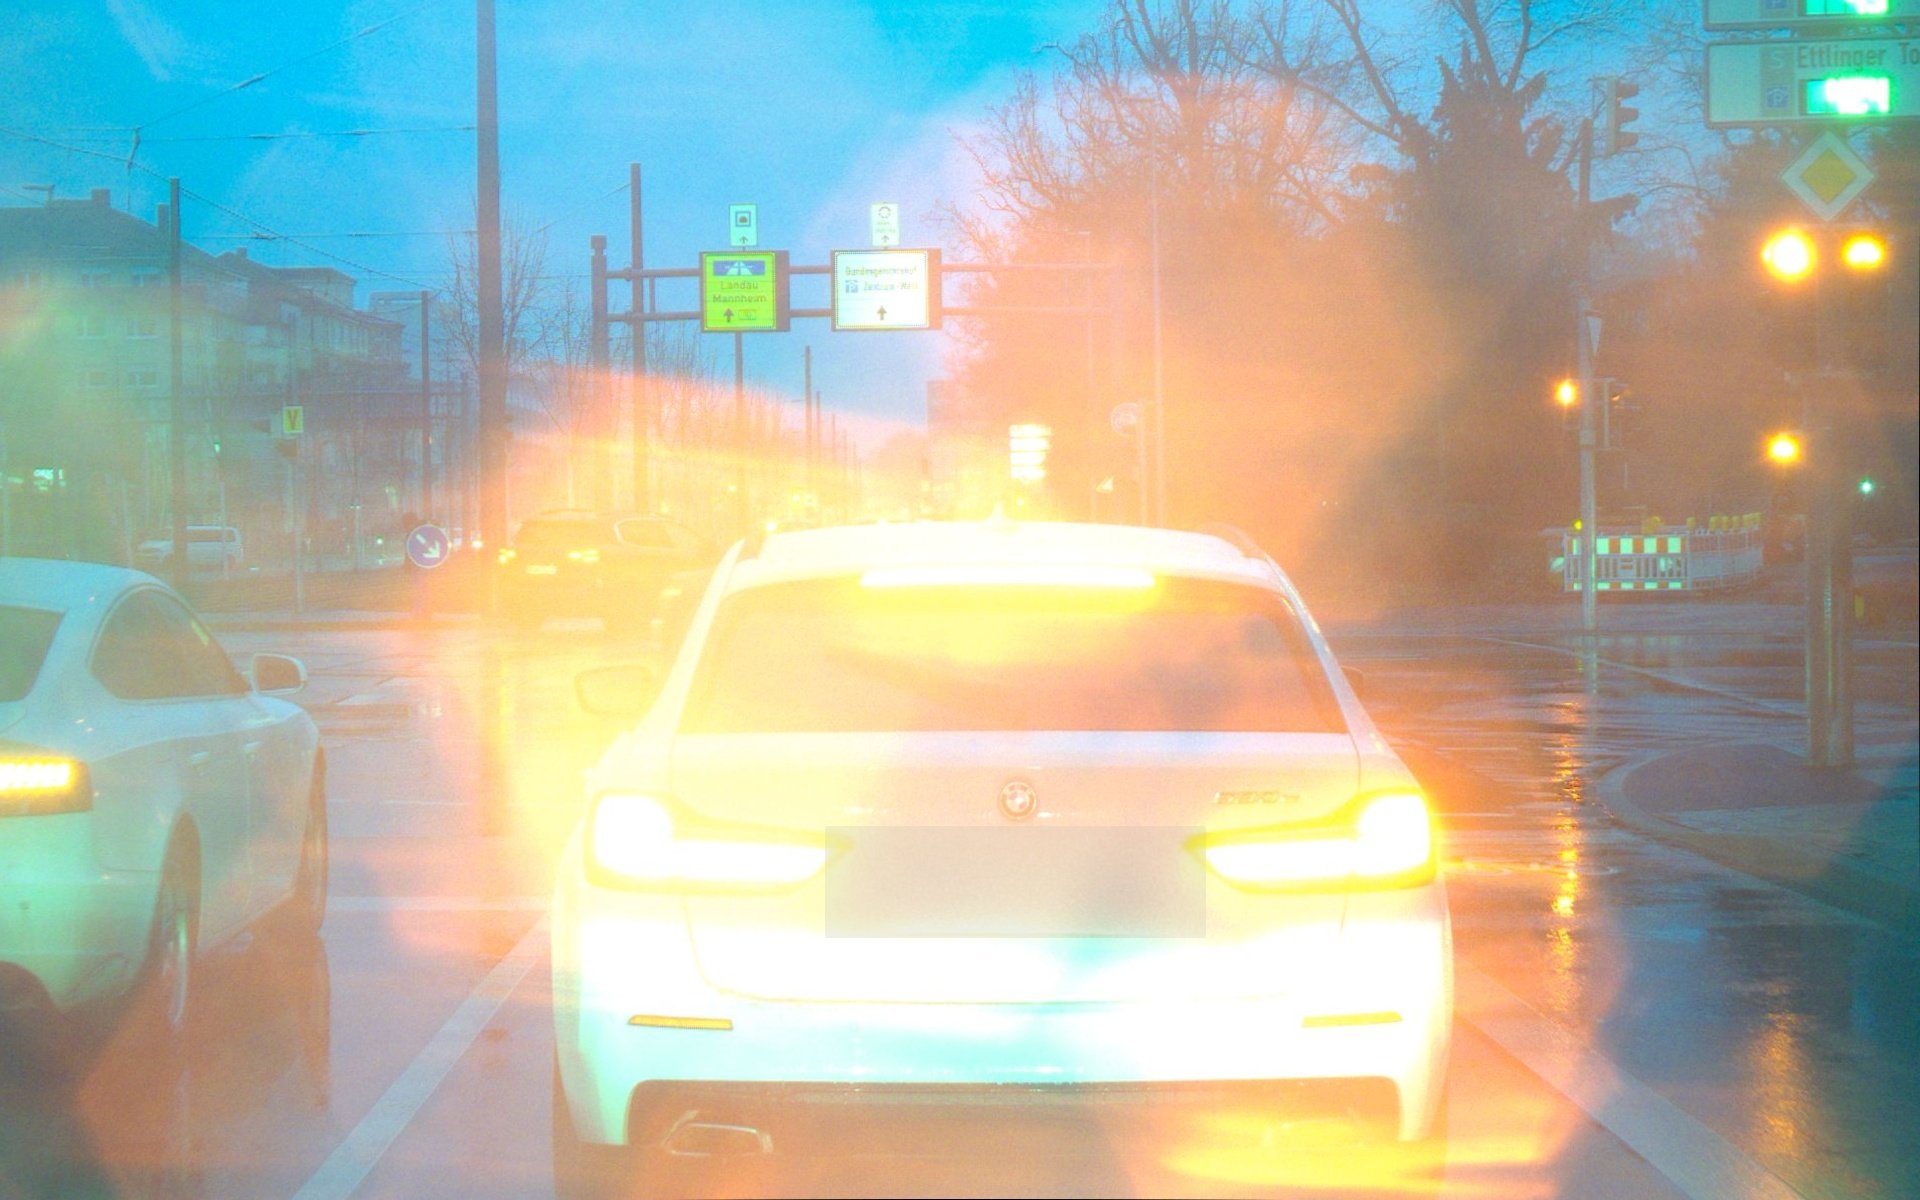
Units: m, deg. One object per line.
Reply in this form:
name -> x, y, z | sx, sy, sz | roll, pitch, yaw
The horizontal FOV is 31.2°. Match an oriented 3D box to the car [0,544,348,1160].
car -> -3.163, 0.582, 10.489 | 1.993, 1.451, 4.369 | 0, 1, -3

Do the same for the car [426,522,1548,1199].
car -> -0.043, 0.550, 8.298 | 1.993, 1.451, 4.369 | 0, 1, -3

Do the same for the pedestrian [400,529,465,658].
pedestrian -> -7.689, -0.100, 50.085 | 0.902, 1.850, 0.812 | 1, 0, -9

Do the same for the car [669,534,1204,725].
car -> -0.215, 0.256, 32.455 | 4.700, 1.714, 1.867 | 0, 0, 20

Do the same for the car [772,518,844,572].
car -> -4.298, -1.570, 97.219 | 1.993, 1.451, 4.369 | 0, 1, -3

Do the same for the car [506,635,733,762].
car -> -4.702, 1.333, 48.017 | 1.844, 1.603, 3.942 | 1, 0, 16
